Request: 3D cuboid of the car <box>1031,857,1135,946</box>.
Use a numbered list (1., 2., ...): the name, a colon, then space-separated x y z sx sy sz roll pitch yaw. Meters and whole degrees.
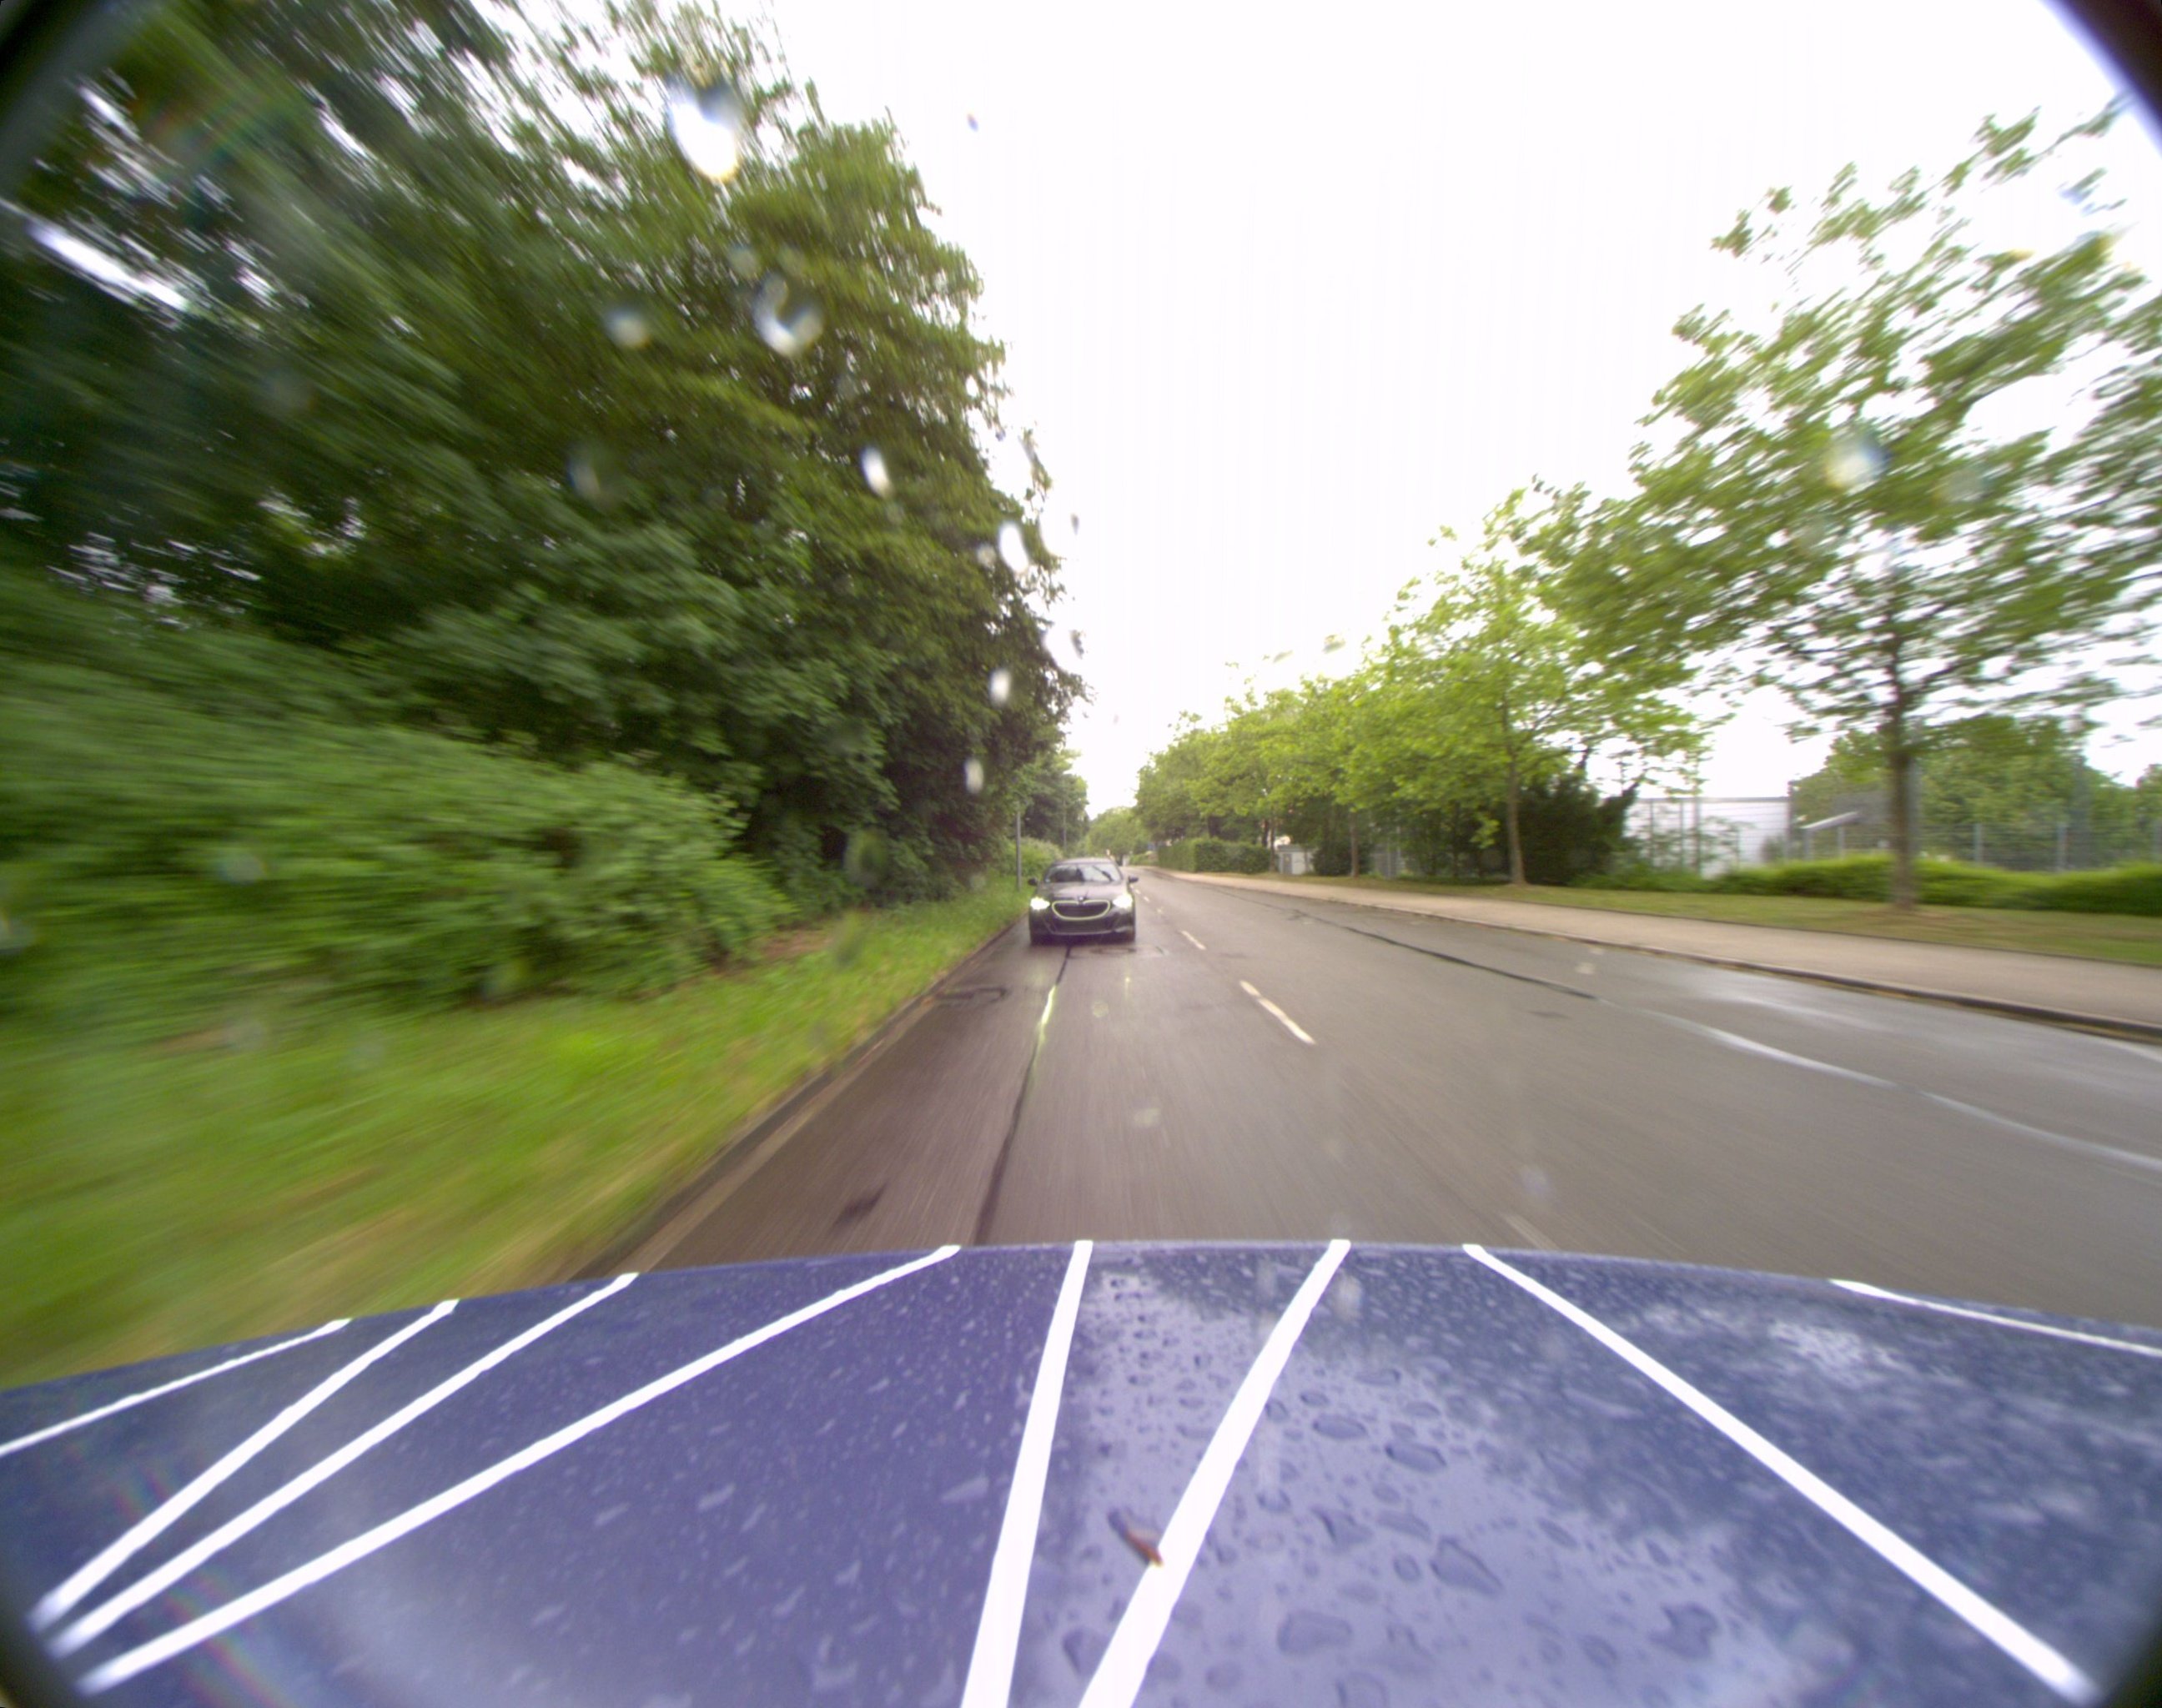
1. car: 0.043 0.859 15.883 1.832 1.499 4.498 -2 0 0
